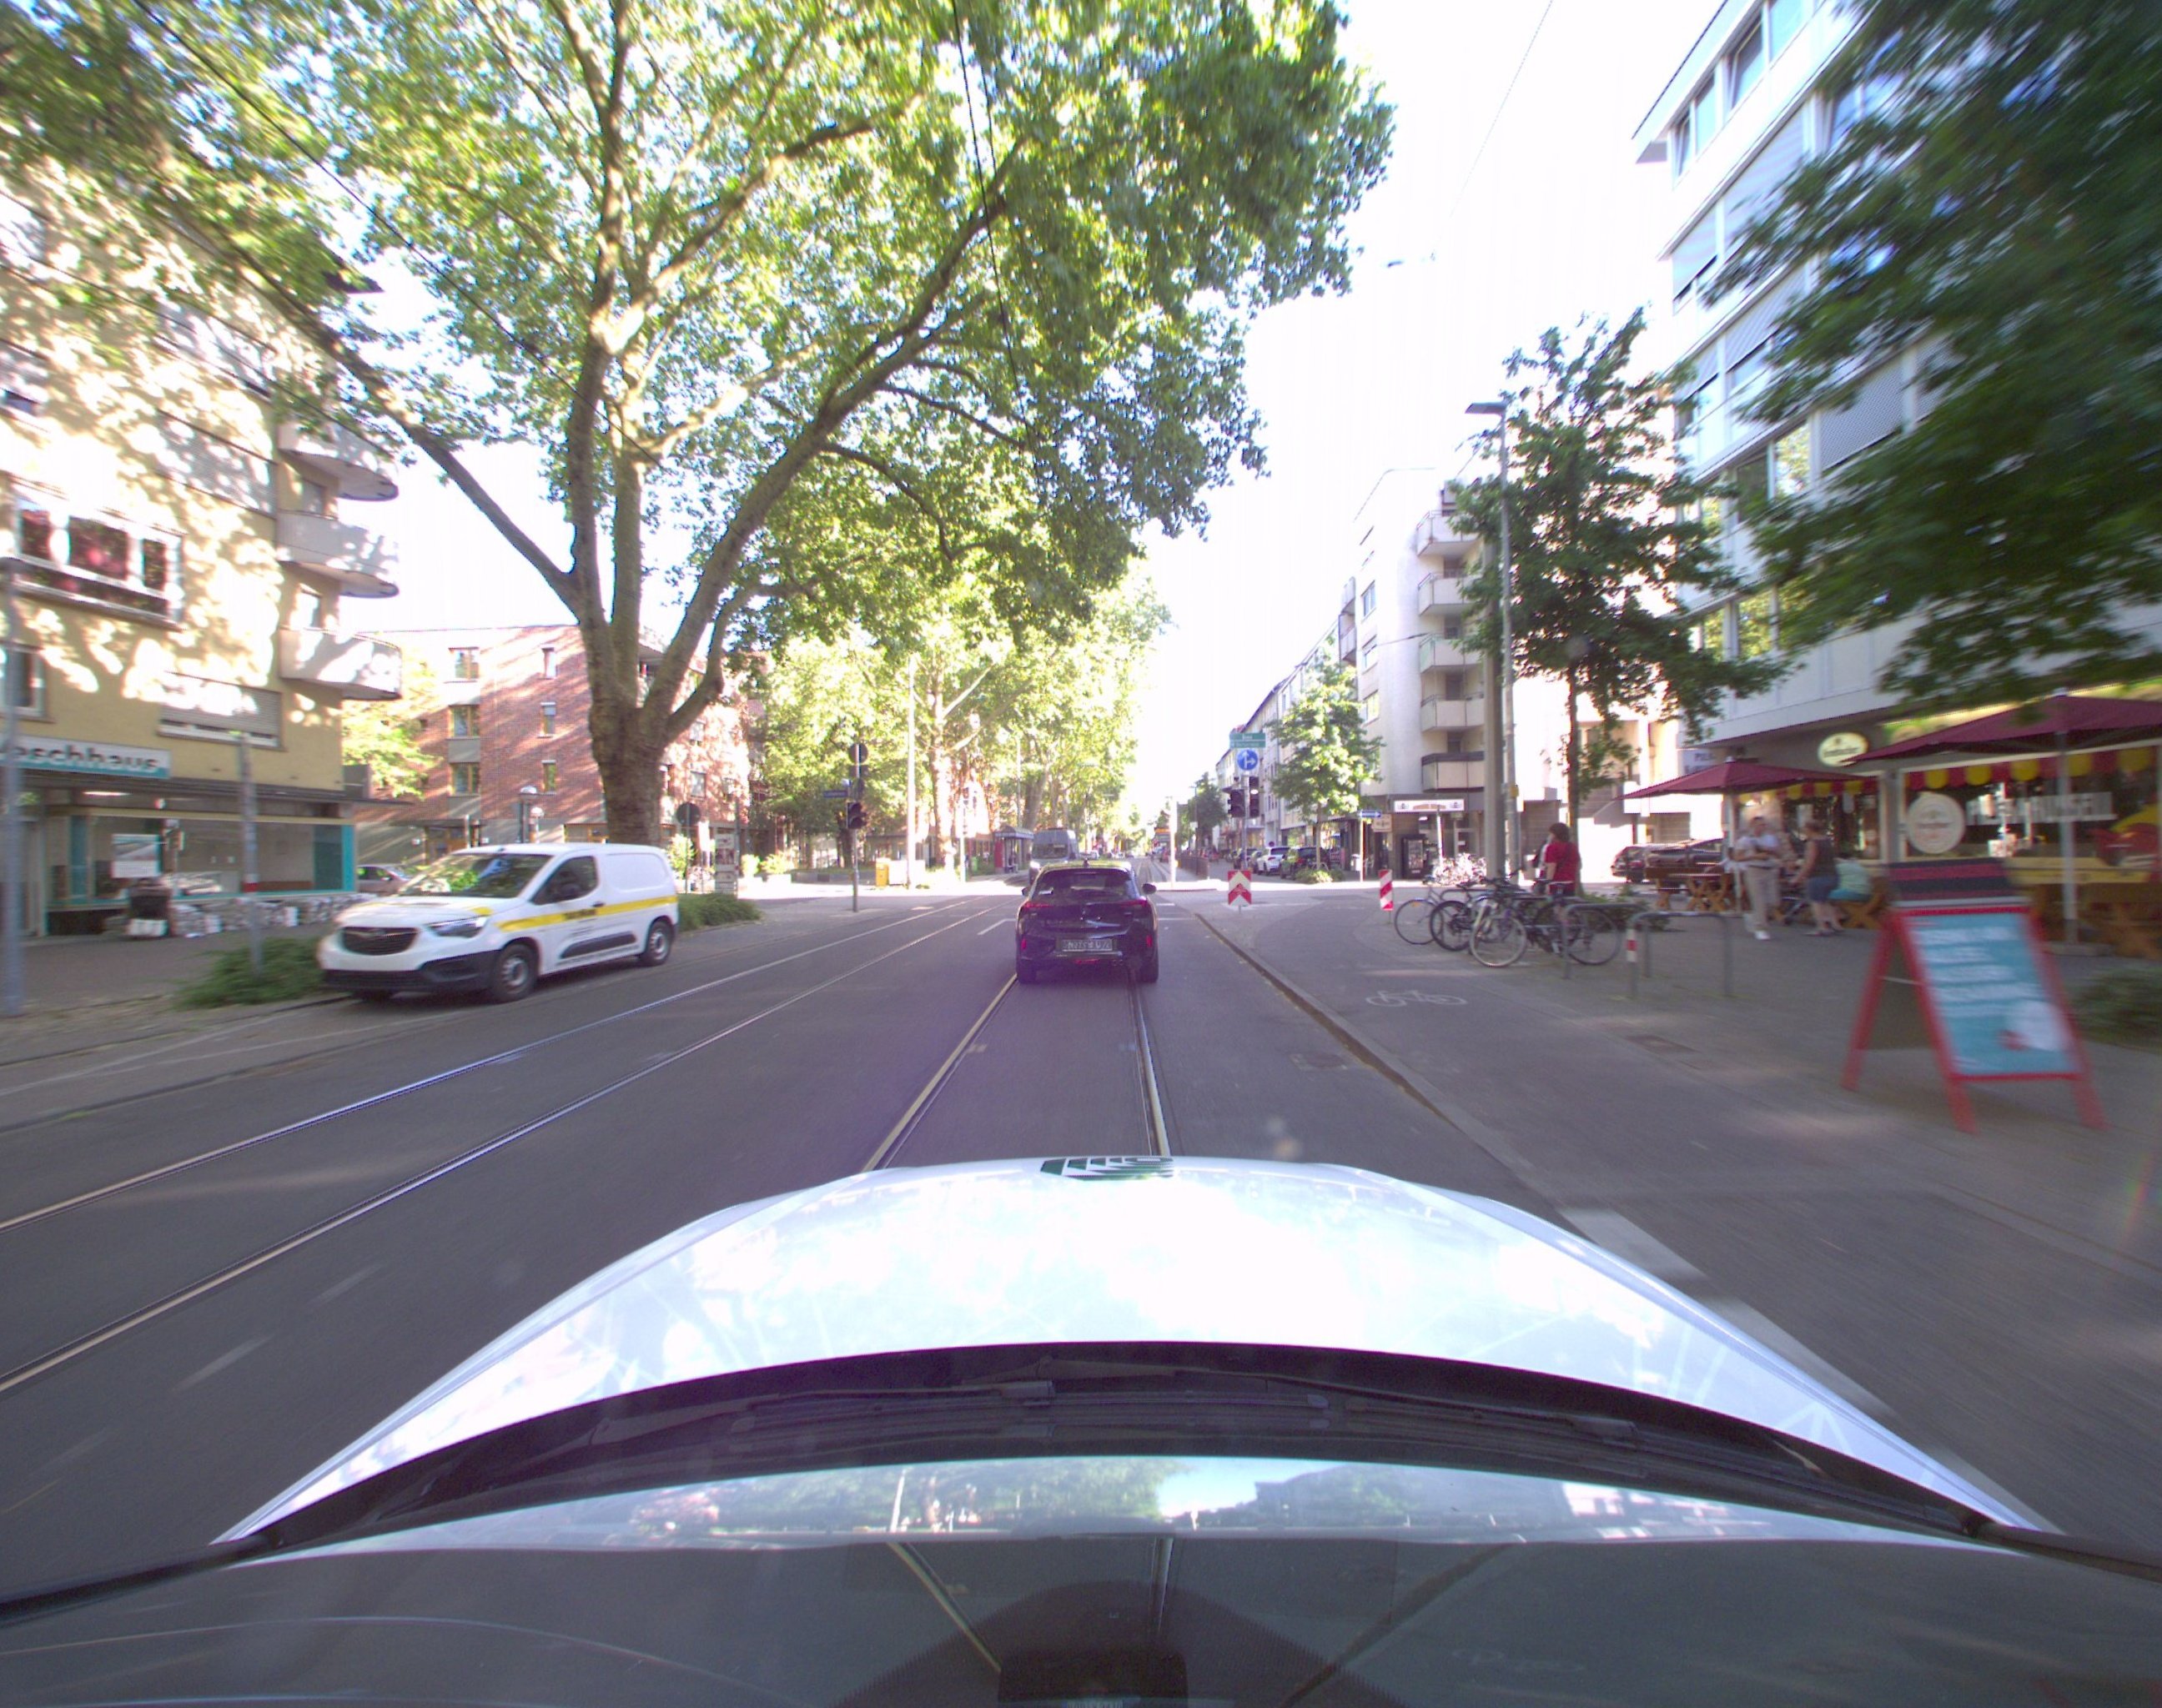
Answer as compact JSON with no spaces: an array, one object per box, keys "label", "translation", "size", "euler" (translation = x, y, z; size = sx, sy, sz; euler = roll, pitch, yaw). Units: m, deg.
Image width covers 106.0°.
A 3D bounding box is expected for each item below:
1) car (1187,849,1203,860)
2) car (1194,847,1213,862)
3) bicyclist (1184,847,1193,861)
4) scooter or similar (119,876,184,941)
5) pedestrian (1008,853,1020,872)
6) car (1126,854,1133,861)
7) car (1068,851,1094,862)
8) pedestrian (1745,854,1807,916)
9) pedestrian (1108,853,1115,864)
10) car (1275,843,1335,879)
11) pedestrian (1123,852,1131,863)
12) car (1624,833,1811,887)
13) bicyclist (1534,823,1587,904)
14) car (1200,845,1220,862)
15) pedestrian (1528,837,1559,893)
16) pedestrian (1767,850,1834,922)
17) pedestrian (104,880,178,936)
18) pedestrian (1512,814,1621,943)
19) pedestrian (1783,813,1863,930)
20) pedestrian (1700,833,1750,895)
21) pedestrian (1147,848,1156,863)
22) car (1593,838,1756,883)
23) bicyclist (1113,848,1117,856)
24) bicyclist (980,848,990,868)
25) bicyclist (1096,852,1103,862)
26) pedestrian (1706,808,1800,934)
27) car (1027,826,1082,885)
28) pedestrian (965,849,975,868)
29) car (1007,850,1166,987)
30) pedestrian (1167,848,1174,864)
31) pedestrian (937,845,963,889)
[{"label":"car","translation":[16.295,0.074,116.521],"size":[1.984,1.486,4.005],"euler":[0,0,4]},{"label":"car","translation":[15.631,0.054,104.147],"size":[1.985,1.797,4.004],"euler":[0,0,4]},{"label":"bicyclist","translation":[13.523,0.042,102.499],"size":[0.859,1.759,1.053],"euler":[0,-1,-2]},{"label":"scooter or similar","translation":[-17.487,1.014,15.325],"size":[0.636,1.167,0.679],"euler":[0,-1,30]},{"label":"pedestrian","translation":[-4.292,0.534,52.155],"size":[0.702,1.168,0.660],"euler":[-2,-1,1]},{"label":"car","translation":[11.717,0.803,197.330],"size":[1.738,1.544,4.003],"euler":[0,0,3]},{"label":"car","translation":[-0.044,0.392,128.337],"size":[4.104,1.701,1.882],"euler":[0,-1,-3]},{"label":"pedestrian","translation":[12.261,0.535,14.379],"size":[0.639,1.079,0.522],"euler":[0,-1,2]},{"label":"pedestrian","translation":[4.868,0.678,130.945],"size":[1.160,1.748,0.957],"euler":[0,-1,-1]},{"label":"car","translation":[10.951,0.353,40.065],"size":[1.984,1.615,4.450],"euler":[-2,-1,4]},{"label":"pedestrian","translation":[7.351,0.611,130.840],"size":[1.160,1.748,0.957],"euler":[0,-1,-1]},{"label":"car","translation":[19.247,0.195,24.762],"size":[4.238,1.592,1.965],"euler":[0,-1,-2]},{"label":"bicyclist","translation":[10.421,0.205,17.728],"size":[0.673,1.717,0.967],"euler":[0,-1,6]},{"label":"car","translation":[15.448,-0.027,97.525],"size":[1.985,1.952,4.004],"euler":[0,0,4]},{"label":"pedestrian","translation":[13.073,0.315,23.025],"size":[0.548,1.562,0.646],"euler":[0,-2,8]},{"label":"pedestrian","translation":[12.094,0.528,13.704],"size":[0.656,1.175,0.522],"euler":[0,-1,2]},{"label":"pedestrian","translation":[-18.324,1.034,15.890],"size":[0.576,1.047,0.711],"euler":[0,-1,3]},{"label":"pedestrian","translation":[6.945,0.334,11.704],"size":[0.876,1.758,1.044],"euler":[0,-1,-12]},{"label":"pedestrian","translation":[10.919,0.247,12.016],"size":[0.804,1.659,0.683],"euler":[0,-1,38]},{"label":"pedestrian","translation":[13.650,0.208,17.278],"size":[0.533,1.287,0.716],"euler":[0,-1,5]},{"label":"pedestrian","translation":[8.337,0.165,96.514],"size":[0.742,1.709,0.768],"euler":[0,-1,39]},{"label":"car","translation":[21.682,0.230,29.921],"size":[4.563,1.477,1.874],"euler":[-1,2,4]},{"label":"bicyclist","translation":[7.389,-0.380,176.579],"size":[0.936,1.703,1.155],"euler":[0,-1,7]},{"label":"bicyclist","translation":[-8.794,0.376,74.530],"size":[0.771,1.750,0.998],"euler":[0,-1,2]},{"label":"bicyclist","translation":[3.102,0.505,134.493],"size":[1.160,1.748,0.957],"euler":[0,-1,-1]},{"label":"pedestrian","translation":[9.931,0.246,12.074],"size":[0.588,1.784,0.996],"euler":[0,-1,3]},{"label":"car","translation":[-1.250,0.085,41.696],"size":[2.104,2.738,6.121],"euler":[-2,-1,4]},{"label":"pedestrian","translation":[-10.109,0.416,74.099],"size":[0.732,1.672,0.862],"euler":[0,-1,4]},{"label":"car","translation":[0.135,0.734,10.986],"size":[1.753,1.508,3.685],"euler":[-1,0,2]},{"label":"pedestrian","translation":[8.495,0.191,77.539],"size":[0.628,1.576,0.872],"euler":[2,0,4]},{"label":"pedestrian","translation":[-5.507,0.537,34.371],"size":[0.921,1.835,0.920],"euler":[0,2,0]}]
